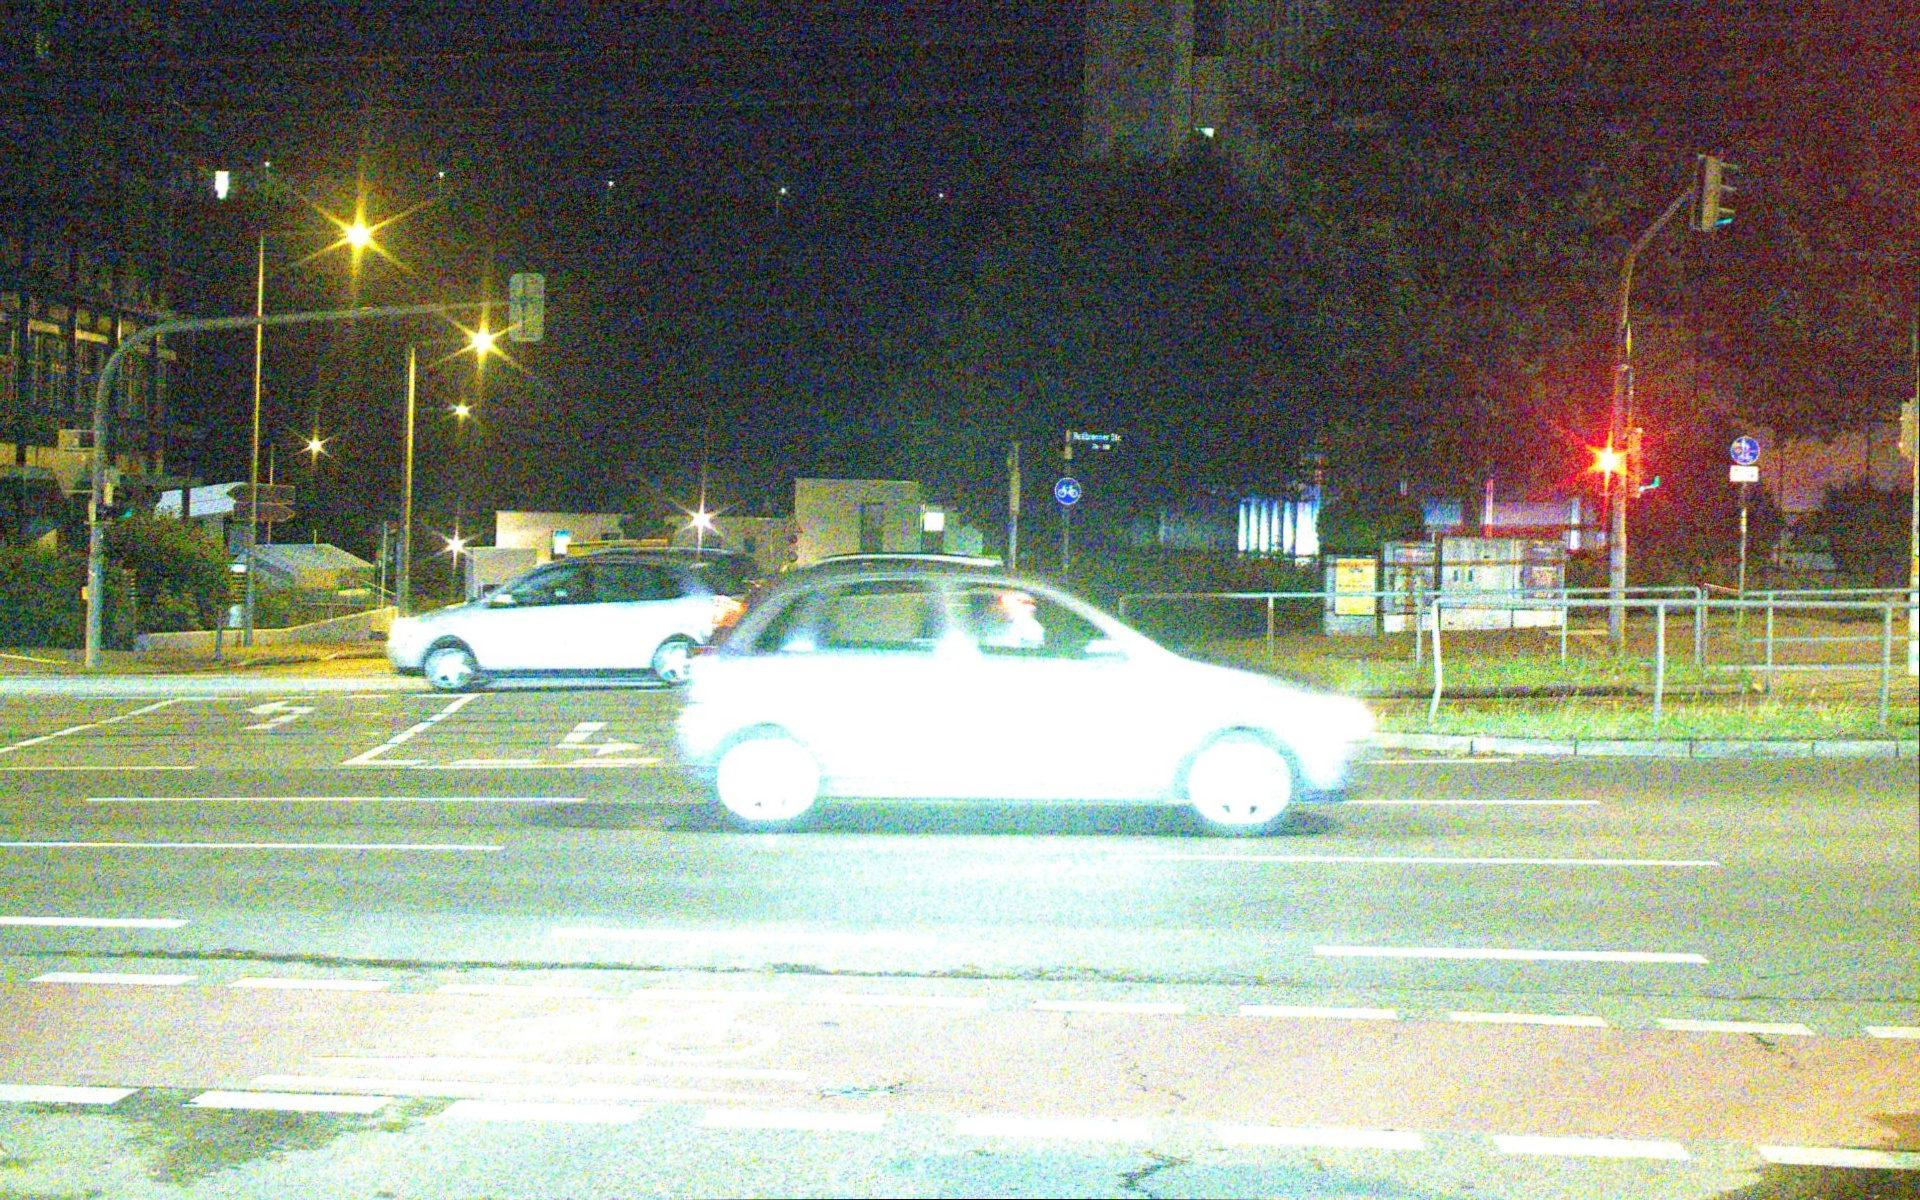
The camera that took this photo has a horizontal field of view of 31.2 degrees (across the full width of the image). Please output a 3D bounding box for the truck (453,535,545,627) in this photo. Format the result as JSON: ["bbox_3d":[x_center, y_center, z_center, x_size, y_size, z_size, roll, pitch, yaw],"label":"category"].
[{"bbox_3d":[-16.119,-0.654,119.930,2.417,3.078,6.439,1,0,-14],"label":"truck"}]

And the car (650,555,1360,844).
[{"bbox_3d":[0.275,0.514,18.793,3.687,1.415,1.643,-1,1,4],"label":"car"}]

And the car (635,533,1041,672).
[{"bbox_3d":[-1.377,0.009,40.081,4.575,1.481,1.779,1,1,3],"label":"car"}]

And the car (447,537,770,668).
[{"bbox_3d":[-4.473,0.014,44.035,3.820,1.625,1.811,0,1,6],"label":"car"}]

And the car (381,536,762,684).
[{"bbox_3d":[-4.178,0.107,37.383,3.835,1.481,1.869,1,0,3],"label":"car"}]

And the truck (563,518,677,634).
[{"bbox_3d":[-14.779,-1.023,148.845,3.359,4.826,7.908,1,0,-17],"label":"truck"}]
